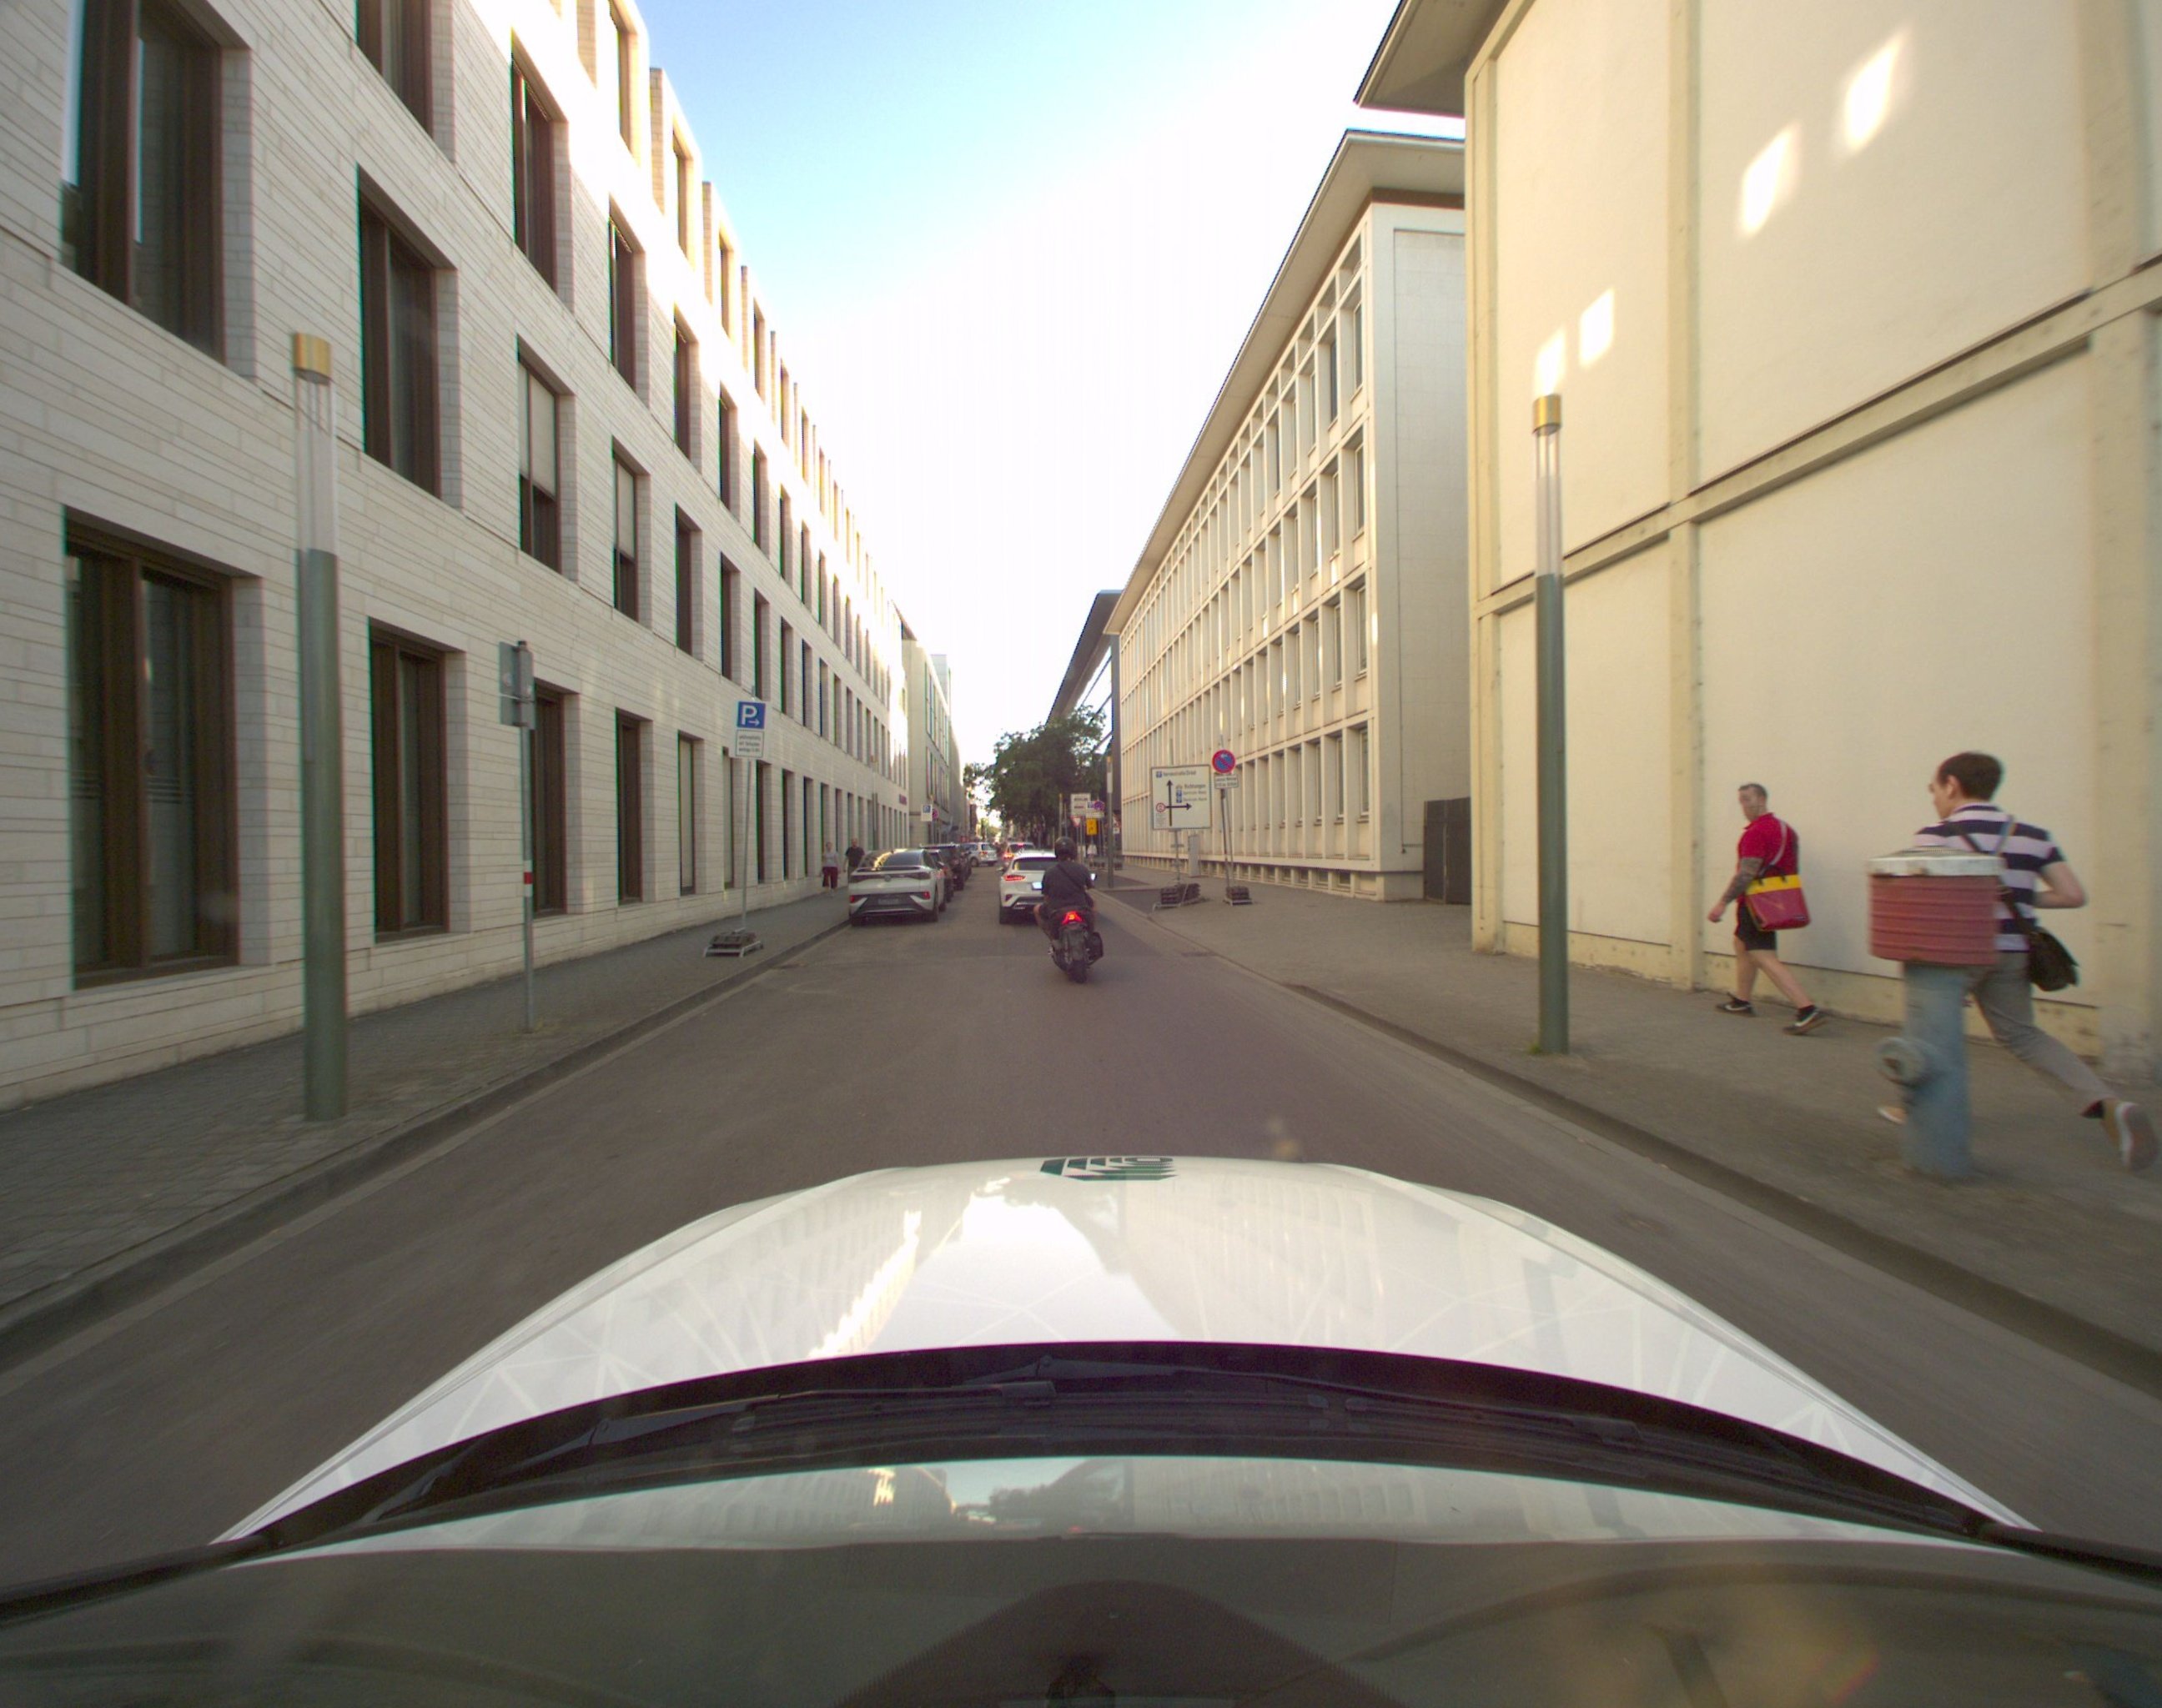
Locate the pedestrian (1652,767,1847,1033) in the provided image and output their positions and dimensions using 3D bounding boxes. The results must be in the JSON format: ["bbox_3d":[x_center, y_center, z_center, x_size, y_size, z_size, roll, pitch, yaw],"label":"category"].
[{"bbox_3d":[4.942,0.310,6.068,0.708,1.801,0.774,-4,1,-7],"label":"pedestrian"}]

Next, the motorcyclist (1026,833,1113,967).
[{"bbox_3d":[-0.171,0.539,10.302,0.953,1.559,1.236,-2,1,-6],"label":"motorcyclist"}]

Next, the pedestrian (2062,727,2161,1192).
[{"bbox_3d":[4.471,0.388,2.915,0.708,1.777,0.939,-4,1,-6],"label":"pedestrian"}]

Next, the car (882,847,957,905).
[{"bbox_3d":[-4.773,0.589,24.439,1.808,1.527,3.508,-3,1,-6],"label":"car"}]

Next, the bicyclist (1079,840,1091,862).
[{"bbox_3d":[0.299,-0.264,63.826,0.741,1.706,0.740,-2,1,15],"label":"bicyclist"}]

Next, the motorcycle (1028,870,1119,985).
[{"bbox_3d":[-0.163,0.845,10.423,0.904,1.183,2.574,-2,1,-6],"label":"motorcycle"}]

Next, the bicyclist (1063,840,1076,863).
[{"bbox_3d":[-0.907,-0.188,62.759,0.741,1.706,0.740,-2,1,15],"label":"bicyclist"}]

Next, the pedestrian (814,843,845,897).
[{"bbox_3d":[-7.704,0.472,25.003,0.703,1.613,0.859,-2,1,-6],"label":"pedestrian"}]

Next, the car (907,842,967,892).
[{"bbox_3d":[-5.177,0.416,29.713,1.808,1.645,3.508,-3,1,-6],"label":"car"}]

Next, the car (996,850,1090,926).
[{"bbox_3d":[-0.837,0.658,18.049,1.855,1.472,3.996,0,1,-3],"label":"car"}]

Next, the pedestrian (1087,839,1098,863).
[{"bbox_3d":[0.782,-0.185,54.574,0.641,1.601,0.619,-2,0,-4],"label":"pedestrian"}]

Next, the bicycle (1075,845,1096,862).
[{"bbox_3d":[0.365,-0.048,63.805,1.552,1.249,0.554,-2,1,14],"label":"bicycle"}]

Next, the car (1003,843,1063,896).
[{"bbox_3d":[-1.624,0.434,26.731,1.771,1.550,4.099,-2,1,-5],"label":"car"}]

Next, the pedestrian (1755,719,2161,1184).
[{"bbox_3d":[4.141,0.366,3.856,0.713,1.801,1.244,-4,1,-6],"label":"pedestrian"}]

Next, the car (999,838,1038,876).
[{"bbox_3d":[-3.346,0.129,42.898,1.922,1.856,3.992,-2,1,-6],"label":"car"}]

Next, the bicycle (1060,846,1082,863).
[{"bbox_3d":[-0.765,0.047,62.682,1.552,1.249,0.554,-2,1,14],"label":"bicycle"}]

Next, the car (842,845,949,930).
[{"bbox_3d":[-4.094,0.654,18.651,1.808,1.606,4.259,-3,1,-6],"label":"car"}]

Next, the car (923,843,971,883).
[{"bbox_3d":[-5.872,0.339,36.037,1.774,1.606,3.508,-3,1,-6],"label":"car"}]

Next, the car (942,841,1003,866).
[{"bbox_3d":[-7.476,-0.024,55.908,3.948,1.596,1.917,-1,0,38],"label":"car"}]

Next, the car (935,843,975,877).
[{"bbox_3d":[-6.441,0.266,41.959,1.774,1.606,3.508,-3,1,-6],"label":"car"}]

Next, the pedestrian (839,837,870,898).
[{"bbox_3d":[-6.798,0.393,24.459,0.703,1.786,0.725,-2,0,-6],"label":"pedestrian"}]
